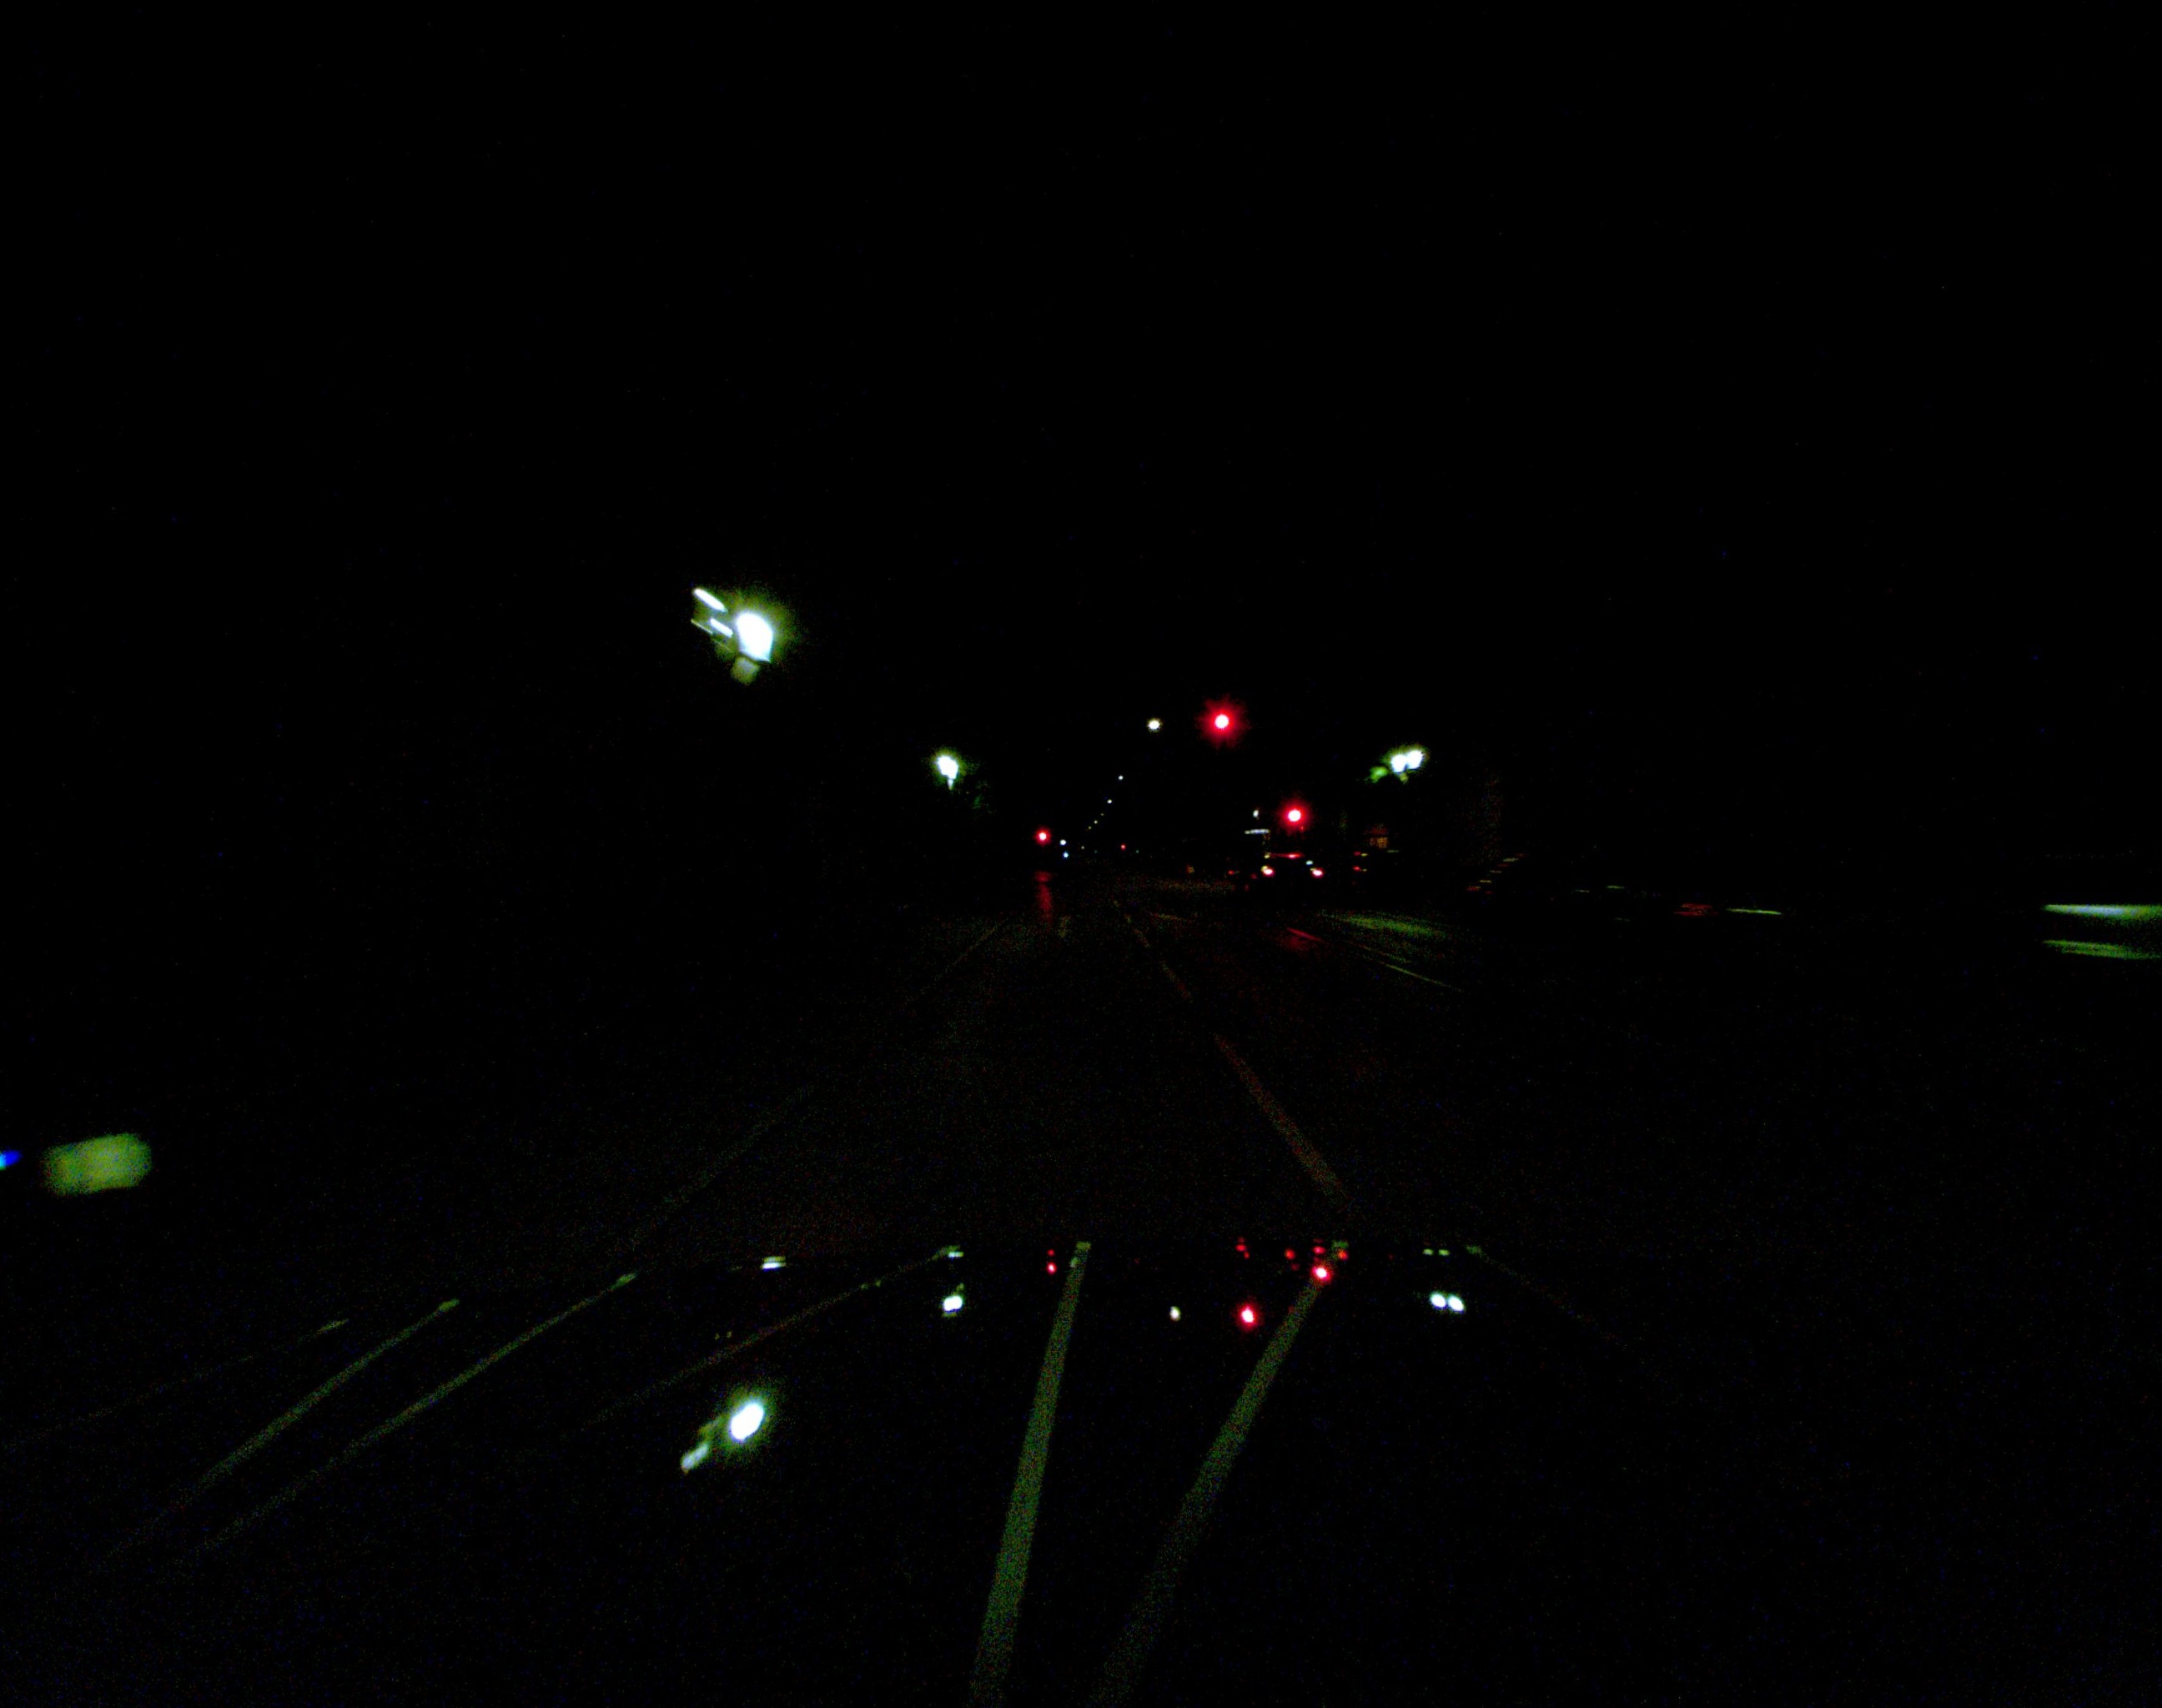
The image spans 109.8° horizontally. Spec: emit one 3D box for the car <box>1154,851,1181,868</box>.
[{"bbox_3d":[7.856,0.485,69.268,1.865,1.470,4.472,-1,1,0],"label":"car"}]

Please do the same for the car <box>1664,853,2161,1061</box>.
[{"bbox_3d":[8.306,0.767,7.651,1.789,1.482,4.000,-2,0,0],"label":"car"}]

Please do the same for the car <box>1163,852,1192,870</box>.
[{"bbox_3d":[8.151,0.541,64.258,1.865,1.425,4.443,-2,1,0],"label":"car"}]

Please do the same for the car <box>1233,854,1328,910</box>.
[{"bbox_3d":[5.669,0.738,22.093,1.719,1.421,4.000,1,0,0],"label":"car"}]

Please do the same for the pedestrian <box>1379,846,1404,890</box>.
[{"bbox_3d":[12.092,0.534,29.587,0.710,1.680,0.998,0,1,10],"label":"pedestrian"}]

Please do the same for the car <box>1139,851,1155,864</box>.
[{"bbox_3d":[7.875,0.393,90.784,1.555,1.425,4.347,-2,1,0],"label":"car"}]

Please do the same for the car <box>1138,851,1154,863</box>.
[{"bbox_3d":[8.153,0.352,95.623,1.642,1.425,4.349,-2,1,0],"label":"car"}]

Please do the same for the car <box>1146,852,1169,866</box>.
[{"bbox_3d":[8.254,0.548,82.530,1.866,1.425,4.402,-1,1,-2],"label":"car"}]

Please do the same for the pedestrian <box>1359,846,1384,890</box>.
[{"bbox_3d":[11.356,0.523,29.706,0.710,1.680,1.125,0,1,10],"label":"pedestrian"}]

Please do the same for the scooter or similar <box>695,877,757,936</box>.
[{"bbox_3d":[-7.357,1.063,15.820,0.422,1.124,1.494,0,0,8],"label":"scooter or similar"}]

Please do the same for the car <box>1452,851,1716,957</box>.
[{"bbox_3d":[8.473,0.731,13.362,1.789,1.482,4.329,-3,0,1],"label":"car"}]

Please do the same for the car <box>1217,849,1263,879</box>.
[{"bbox_3d":[9.006,0.517,43.347,1.890,1.587,4.024,-2,1,2],"label":"car"}]

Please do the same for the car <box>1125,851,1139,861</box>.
[{"bbox_3d":[7.566,0.266,112.325,1.633,1.455,3.513,0,1,-4],"label":"car"}]

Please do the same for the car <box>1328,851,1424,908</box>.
[{"bbox_3d":[8.637,0.694,22.569,1.596,1.482,3.700,-3,0,5],"label":"car"}]
